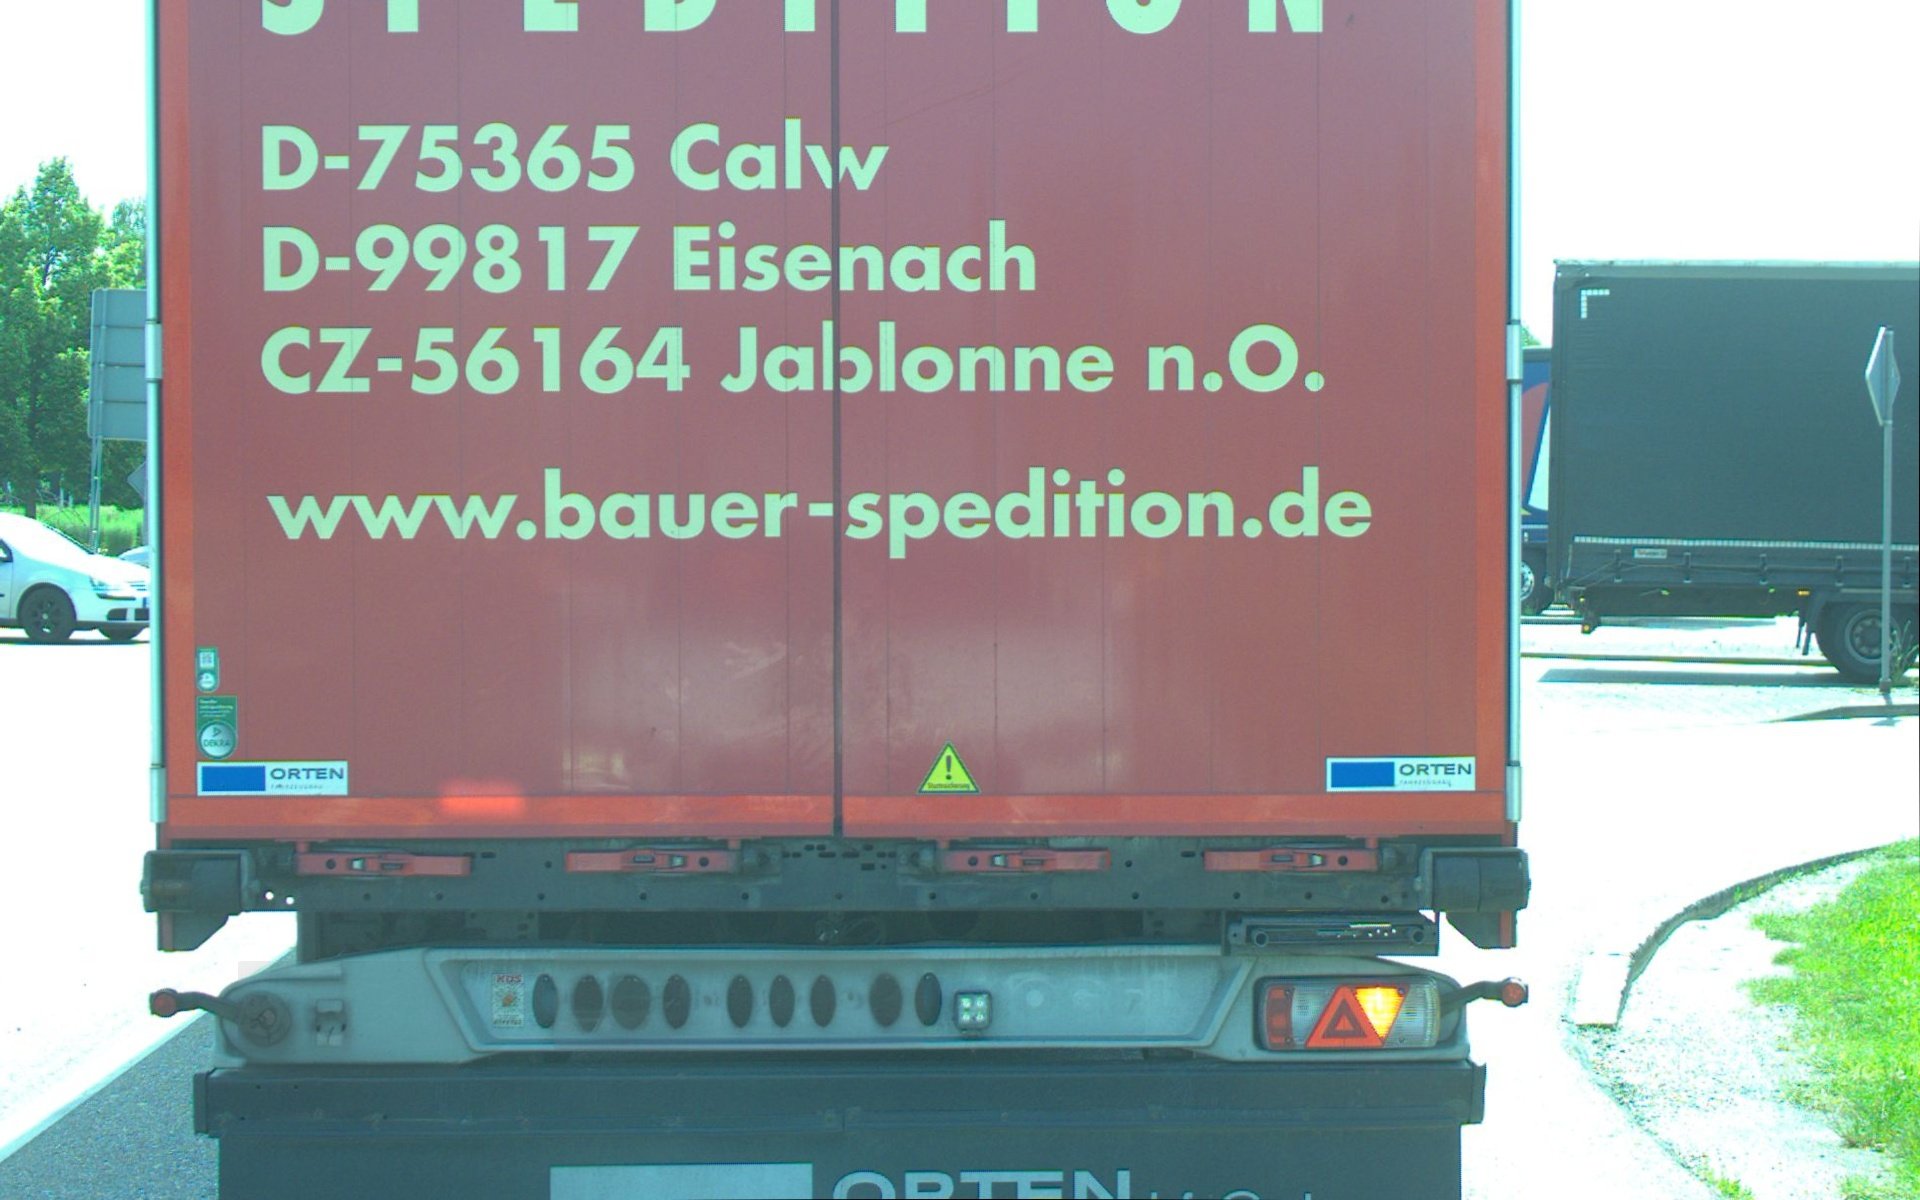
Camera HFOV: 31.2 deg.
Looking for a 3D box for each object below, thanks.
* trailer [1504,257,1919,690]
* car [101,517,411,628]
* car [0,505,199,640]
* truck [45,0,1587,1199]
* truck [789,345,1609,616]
[{"bbox_3d":[12.229,-1.165,32.861,13.691,4.047,2.797,1,2,12],"label":"trailer"},{"bbox_3d":[-9.880,-0.384,48.281,3.998,1.486,1.536,1,0,16],"label":"car"},{"bbox_3d":[-10.827,-0.351,38.718,4.038,1.412,1.794,1,2,16],"label":"car"},{"bbox_3d":[-0.384,-0.819,14.432,2.734,3.911,16.627,0,1,-1],"label":"truck"},{"bbox_3d":[3.477,-2.006,56.088,14.316,3.966,3.020,2,2,40],"label":"truck"}]
